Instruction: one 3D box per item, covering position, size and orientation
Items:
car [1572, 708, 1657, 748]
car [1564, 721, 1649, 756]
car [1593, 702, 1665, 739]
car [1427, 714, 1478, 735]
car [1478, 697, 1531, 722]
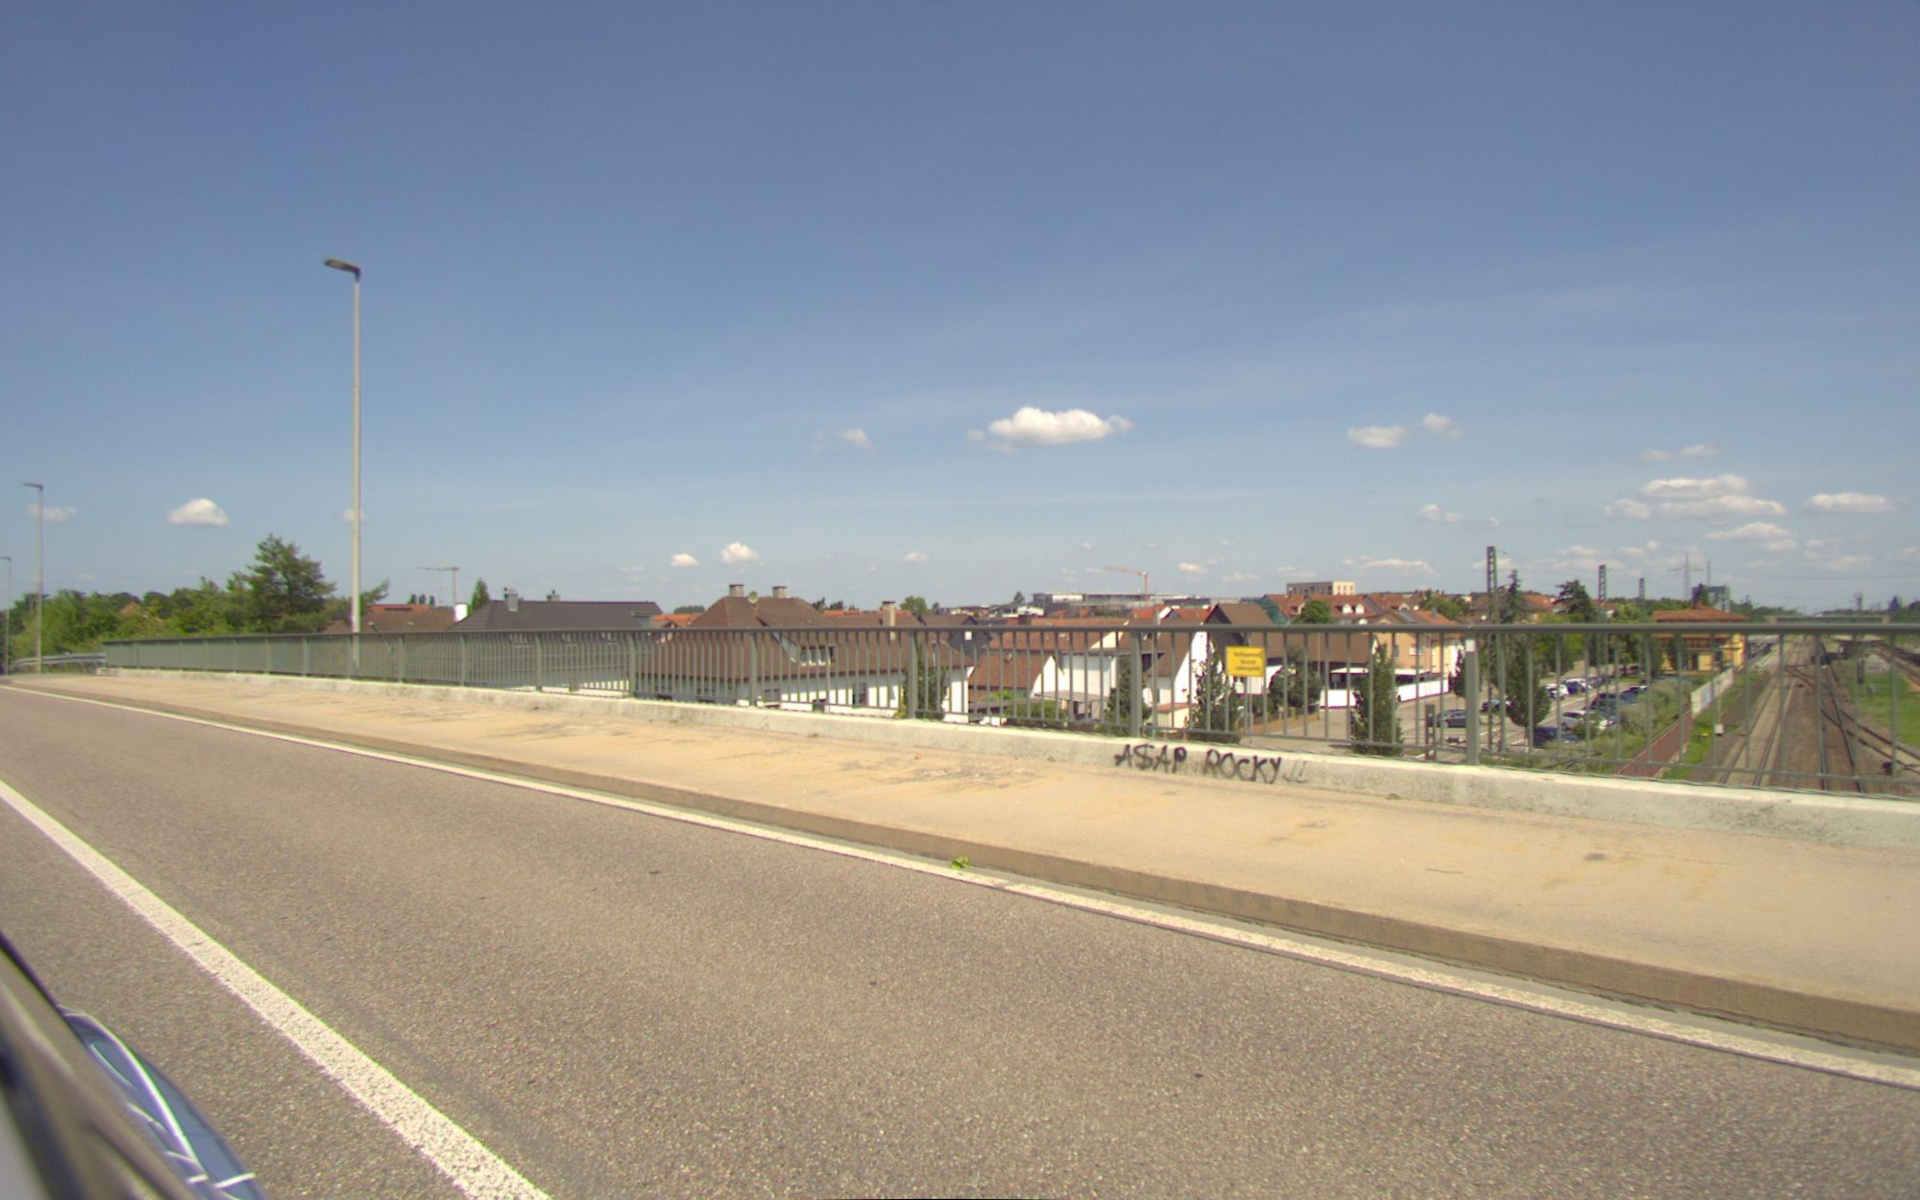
[{"bbox_3d":[48.262,9.402,74.721,1.966,2.028,4.868,-5,3,-30],"label":"car"},{"bbox_3d":[46.160,9.867,72.325,2.172,1.612,4.633,-5,3,-26],"label":"car"},{"bbox_3d":[50.293,9.021,76.127,1.966,2.028,4.013,-5,3,-29],"label":"car"},{"bbox_3d":[39.949,10.109,82.149,3.618,1.453,1.847,-2,-1,25],"label":"car"},{"bbox_3d":[51.924,10.430,96.566,3.935,2.029,2.004,-1,-1,-10],"label":"car"}]
